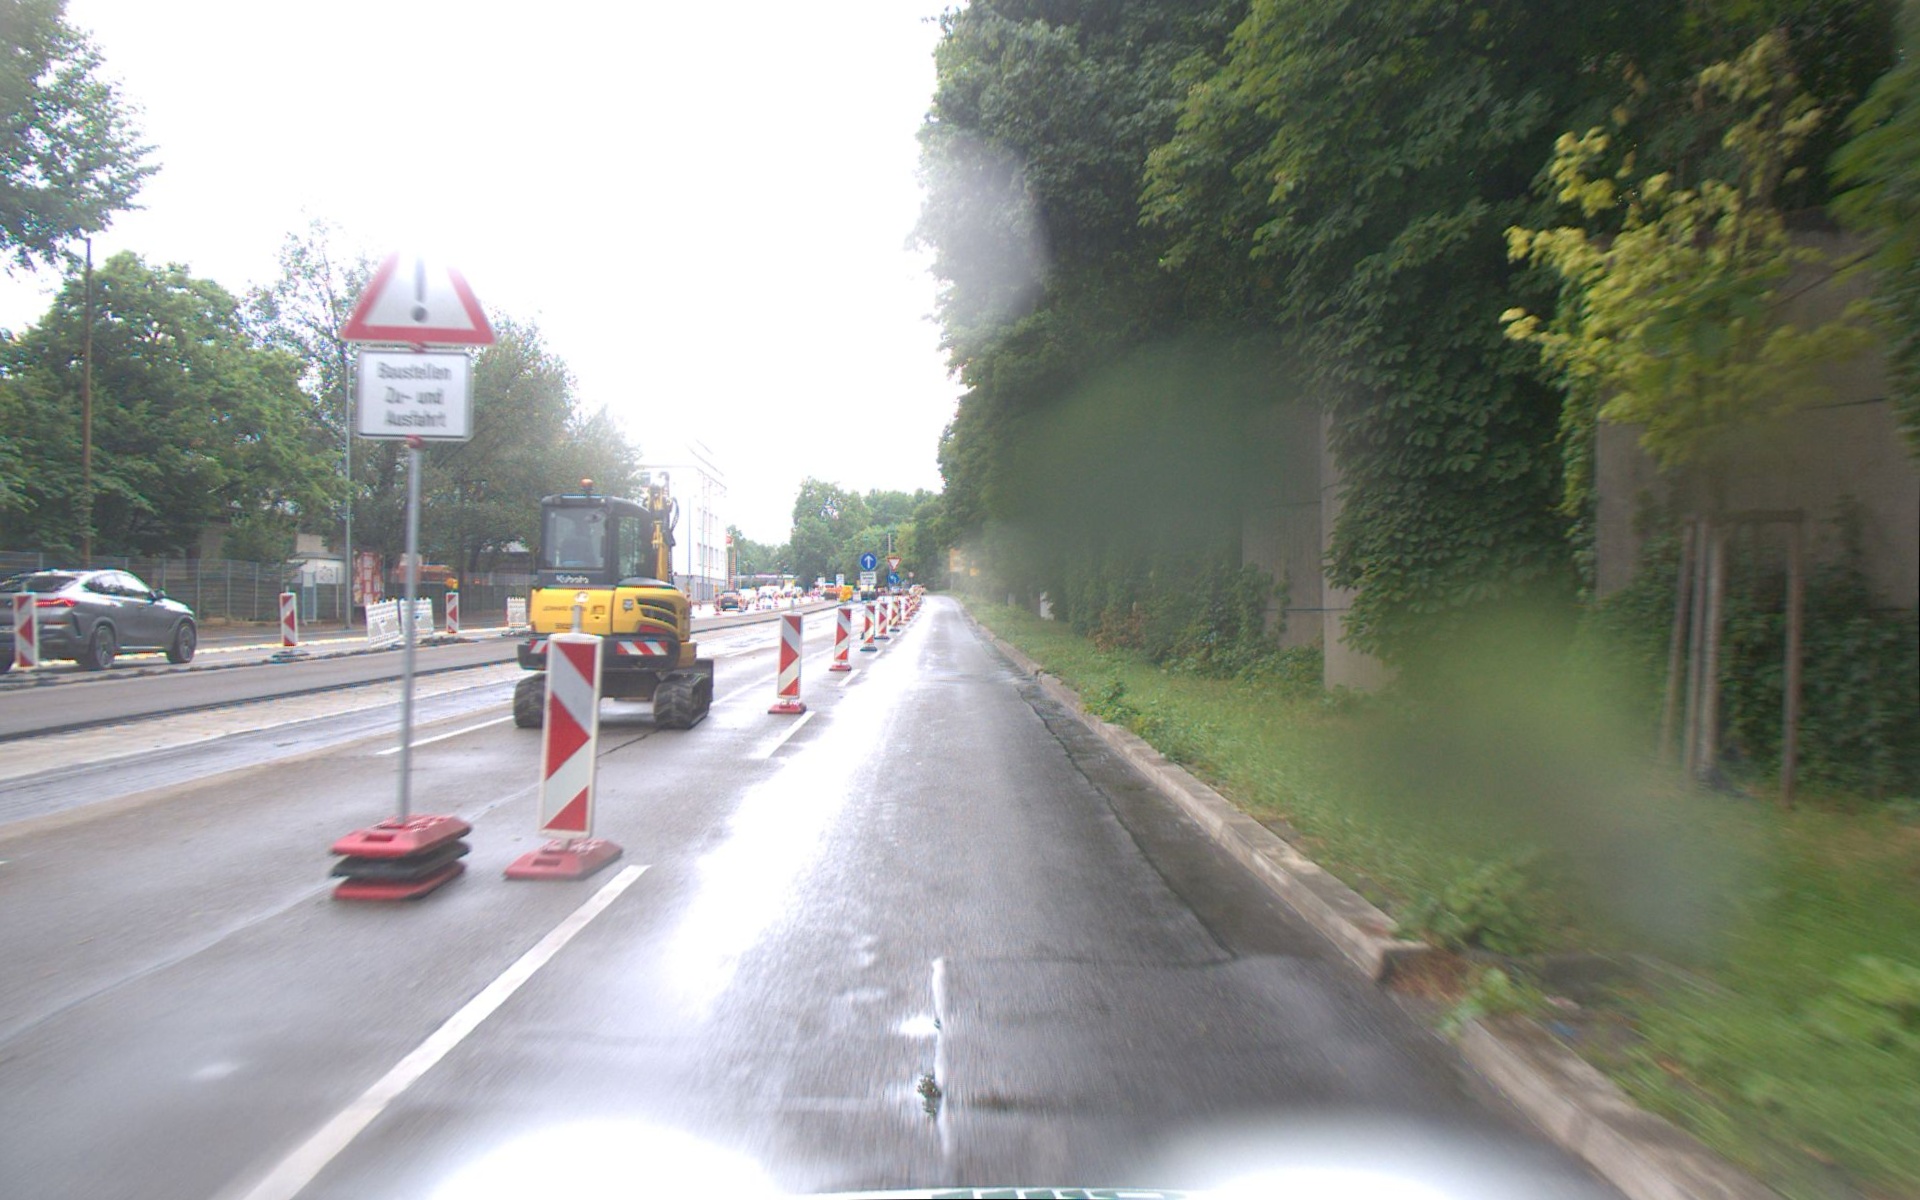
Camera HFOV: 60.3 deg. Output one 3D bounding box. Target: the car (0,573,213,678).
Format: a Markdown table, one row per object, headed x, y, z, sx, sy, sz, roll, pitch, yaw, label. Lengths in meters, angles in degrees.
| x | y | z | sx | sy | sz | roll | pitch | yaw | label |
| --- | --- | --- | --- | --- | --- | --- | --- | --- | --- |
| -15.044 | 0.401 | 28.583 | 2.034 | 1.641 | 5.055 | 1 | 0 | -1 | car |

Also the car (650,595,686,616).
| x | y | z | sx | sy | sz | roll | pitch | yaw | label |
| --- | --- | --- | --- | --- | --- | --- | --- | --- | --- |
| -22.197 | 0.404 | 125.751 | 1.953 | 1.614 | 4.618 | 0 | 0 | 0 | car |

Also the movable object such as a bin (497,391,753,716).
| x | y | z | sx | sy | sz | roll | pitch | yaw | label |
| --- | --- | --- | --- | --- | --- | --- | --- | --- | --- |
| -3.936 | -0.492 | 20.584 | 1.953 | 3.426 | 5.981 | 1 | 0 | -1 | movable object such as a bin |

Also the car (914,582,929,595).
| x | y | z | sx | sy | sz | roll | pitch | yaw | label |
| --- | --- | --- | --- | --- | --- | --- | --- | --- | --- |
| -5.369 | -1.613 | 229.403 | 1.953 | 1.702 | 3.999 | 1 | 0 | 0 | car |

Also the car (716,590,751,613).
| x | y | z | sx | sy | sz | roll | pitch | yaw | label |
| --- | --- | --- | --- | --- | --- | --- | --- | --- | --- |
| -15.930 | 0.127 | 116.559 | 1.953 | 1.545 | 3.999 | 1 | 0 | -1 | car |
